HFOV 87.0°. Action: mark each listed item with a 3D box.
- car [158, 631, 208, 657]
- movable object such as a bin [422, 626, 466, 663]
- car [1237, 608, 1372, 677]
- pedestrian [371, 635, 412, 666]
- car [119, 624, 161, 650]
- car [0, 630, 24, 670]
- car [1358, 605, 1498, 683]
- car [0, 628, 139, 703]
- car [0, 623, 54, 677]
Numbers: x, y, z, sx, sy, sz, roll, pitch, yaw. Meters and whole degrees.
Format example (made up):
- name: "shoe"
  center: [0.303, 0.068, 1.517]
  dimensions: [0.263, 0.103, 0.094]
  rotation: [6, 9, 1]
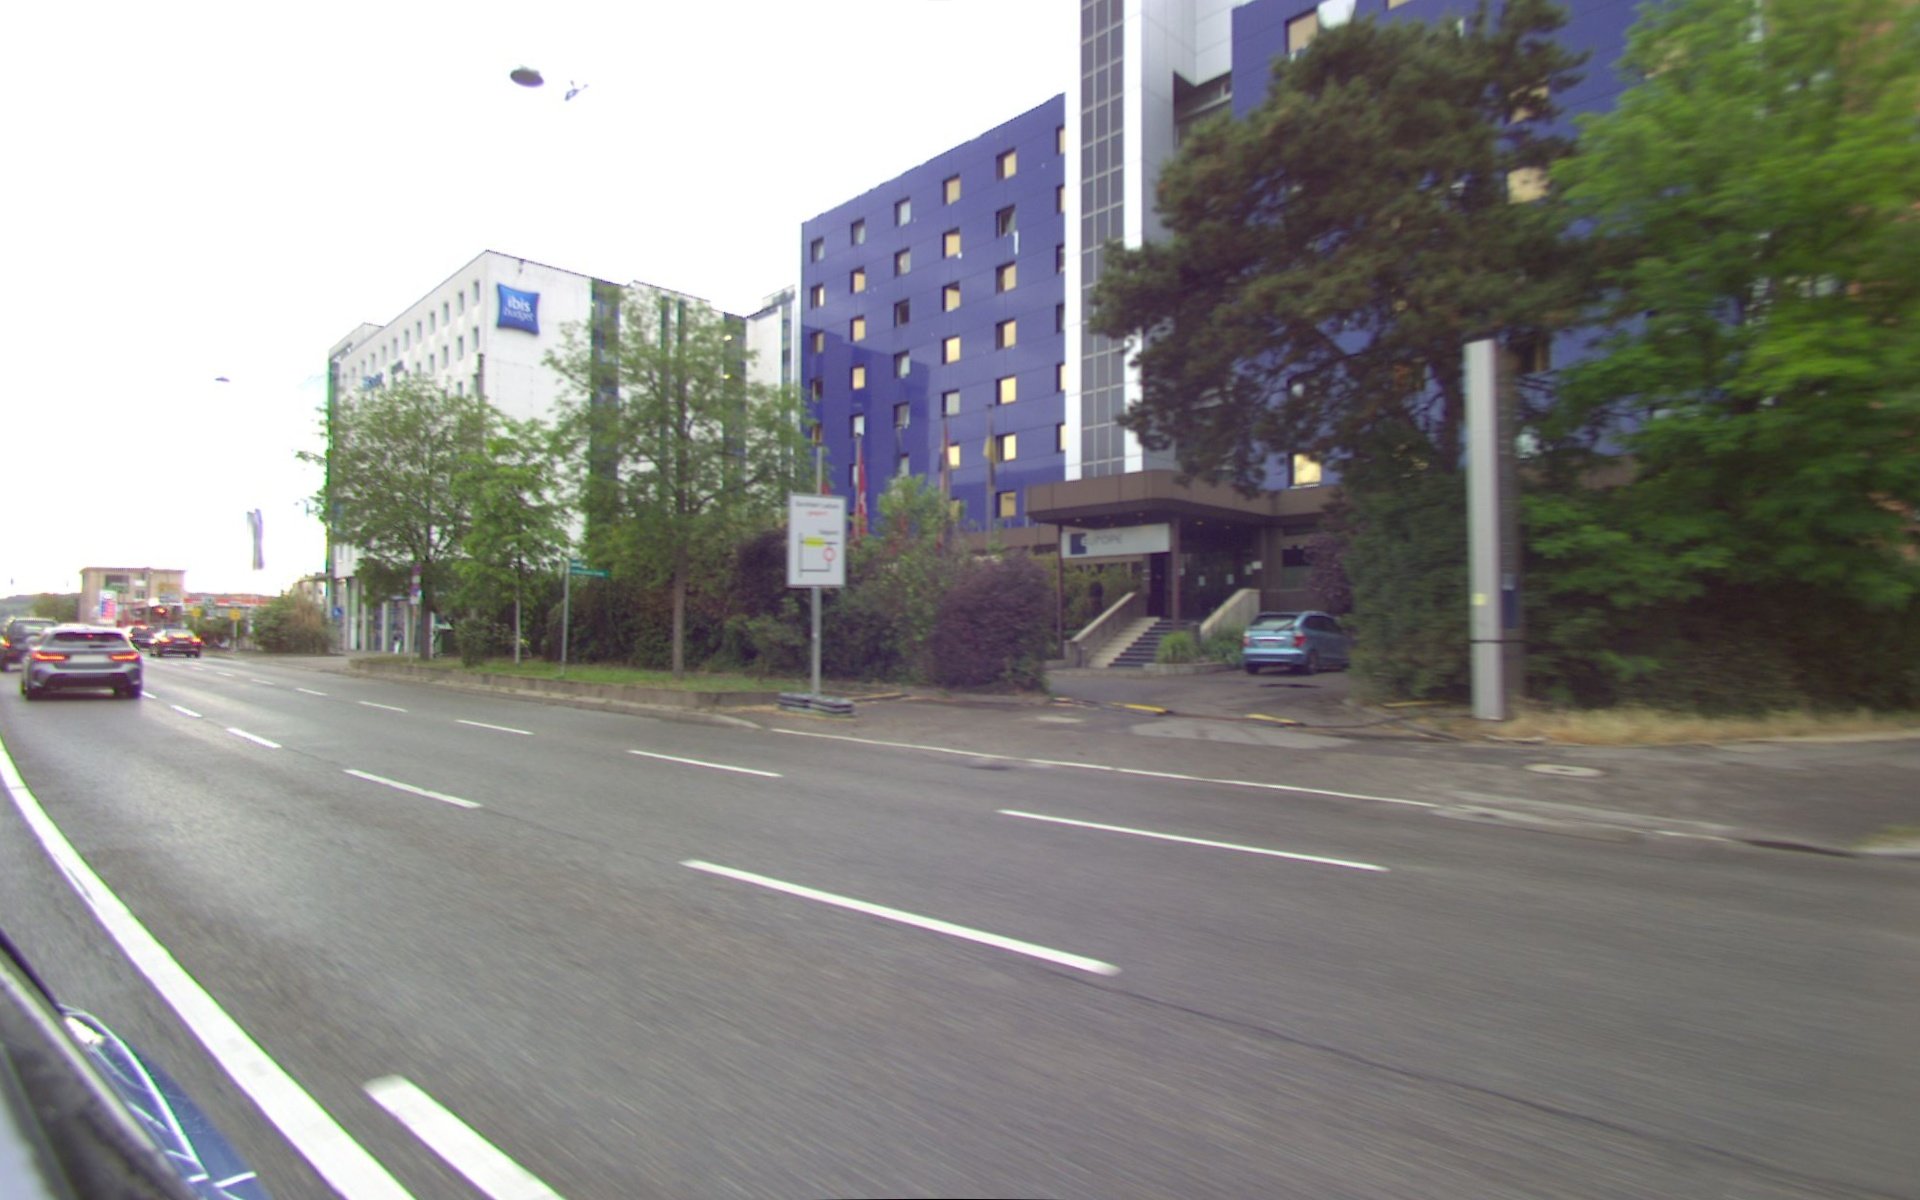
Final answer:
- name: "car"
  center: [-41.114, 2.340, 53.542]
  dimensions: [1.602, 1.334, 4.450]
  rotation: [4, -5, -43]
- name: "movable object such as a bin"
  center: [-22.015, 1.921, 43.174]
  dimensions: [0.950, 1.502, 1.376]
  rotation: [-5, -7, 39]
- name: "car"
  center: [9.265, 1.092, 27.069]
  dimensions: [3.939, 1.717, 1.746]
  rotation: [1, -2, -43]
- name: "pedestrian"
  center: [-33.395, 2.948, 59.498]
  dimensions: [1.965, 1.734, 1.701]
  rotation: [0, -3, -25]
- name: "car"
  center: [-53.996, 2.473, 66.597]
  dimensions: [1.688, 1.578, 4.036]
  rotation: [5, -6, -44]
- name: "car"
  center: [-37.988, 1.942, 39.758]
  dimensions: [1.640, 1.497, 3.822]
  rotation: [2, -3, -45]
- name: "car"
  center: [10.983, 1.043, 23.685]
  dimensions: [3.368, 1.679, 1.820]
  rotation: [2, -4, -43]
- name: "car"
  center: [-18.447, 1.289, 20.878]
  dimensions: [3.999, 1.376, 1.694]
  rotation: [-1, -3, 42]
- name: "car"
  center: [-30.665, 1.649, 32.997]
  dimensions: [1.486, 1.679, 3.421]
  rotation: [2, -4, -45]
